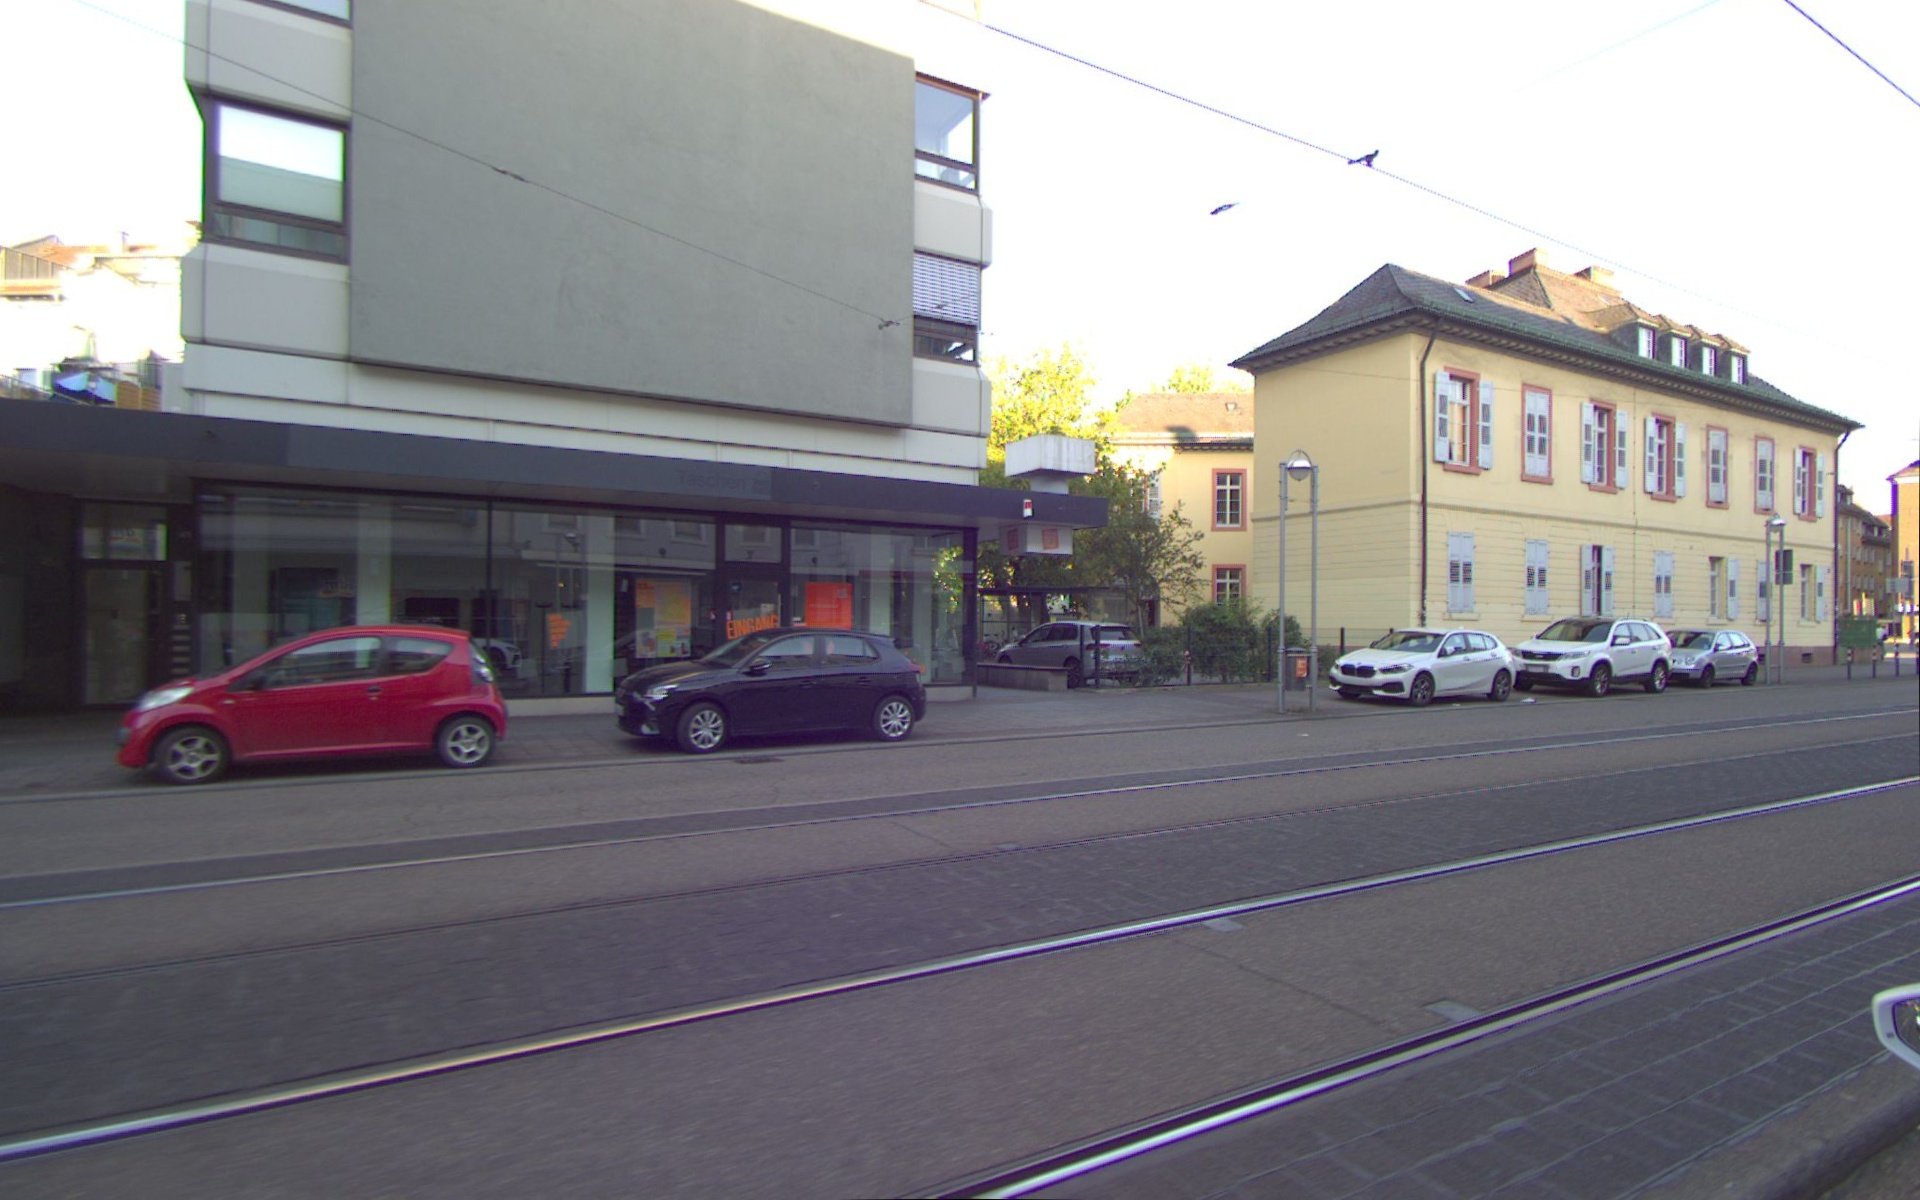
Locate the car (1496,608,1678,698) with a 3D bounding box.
[{"bbox_3d":[14.540,1.168,23.222,4.449,1.809,1.802,1,2,-33],"label":"car"}]

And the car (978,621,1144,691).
[{"bbox_3d":[2.273,1.235,23.581,1.826,1.486,3.963,1,-1,-33],"label":"car"}]

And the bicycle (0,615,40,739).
[{"bbox_3d":[-11.847,0.902,12.024,0.825,1.444,1.958,1,-1,-31],"label":"bicycle"}]

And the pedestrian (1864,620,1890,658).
[{"bbox_3d":[39.316,1.661,43.079,0.722,1.605,0.951,0,-1,37],"label":"pedestrian"}]

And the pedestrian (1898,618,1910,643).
[{"bbox_3d":[72.678,2.346,77.332,0.557,1.893,0.499,1,1,-35],"label":"pedestrian"}]

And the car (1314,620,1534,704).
[{"bbox_3d":[9.399,1.184,20.289,4.378,1.532,1.805,1,-1,-29],"label":"car"}]

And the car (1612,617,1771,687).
[{"bbox_3d":[19.115,1.307,26.226,4.165,1.639,1.804,1,1,-30],"label":"car"}]

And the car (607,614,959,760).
[{"bbox_3d":[-2.237,1.013,13.001,4.165,1.532,1.677,1,2,-30],"label":"car"}]

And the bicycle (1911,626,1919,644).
[{"bbox_3d":[73.665,2.713,77.034,1.995,1.343,0.614,1,1,-35],"label":"bicycle"}]

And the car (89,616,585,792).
[{"bbox_3d":[-6.327,0.958,10.686,4.165,1.532,1.678,1,0,-30],"label":"car"}]
